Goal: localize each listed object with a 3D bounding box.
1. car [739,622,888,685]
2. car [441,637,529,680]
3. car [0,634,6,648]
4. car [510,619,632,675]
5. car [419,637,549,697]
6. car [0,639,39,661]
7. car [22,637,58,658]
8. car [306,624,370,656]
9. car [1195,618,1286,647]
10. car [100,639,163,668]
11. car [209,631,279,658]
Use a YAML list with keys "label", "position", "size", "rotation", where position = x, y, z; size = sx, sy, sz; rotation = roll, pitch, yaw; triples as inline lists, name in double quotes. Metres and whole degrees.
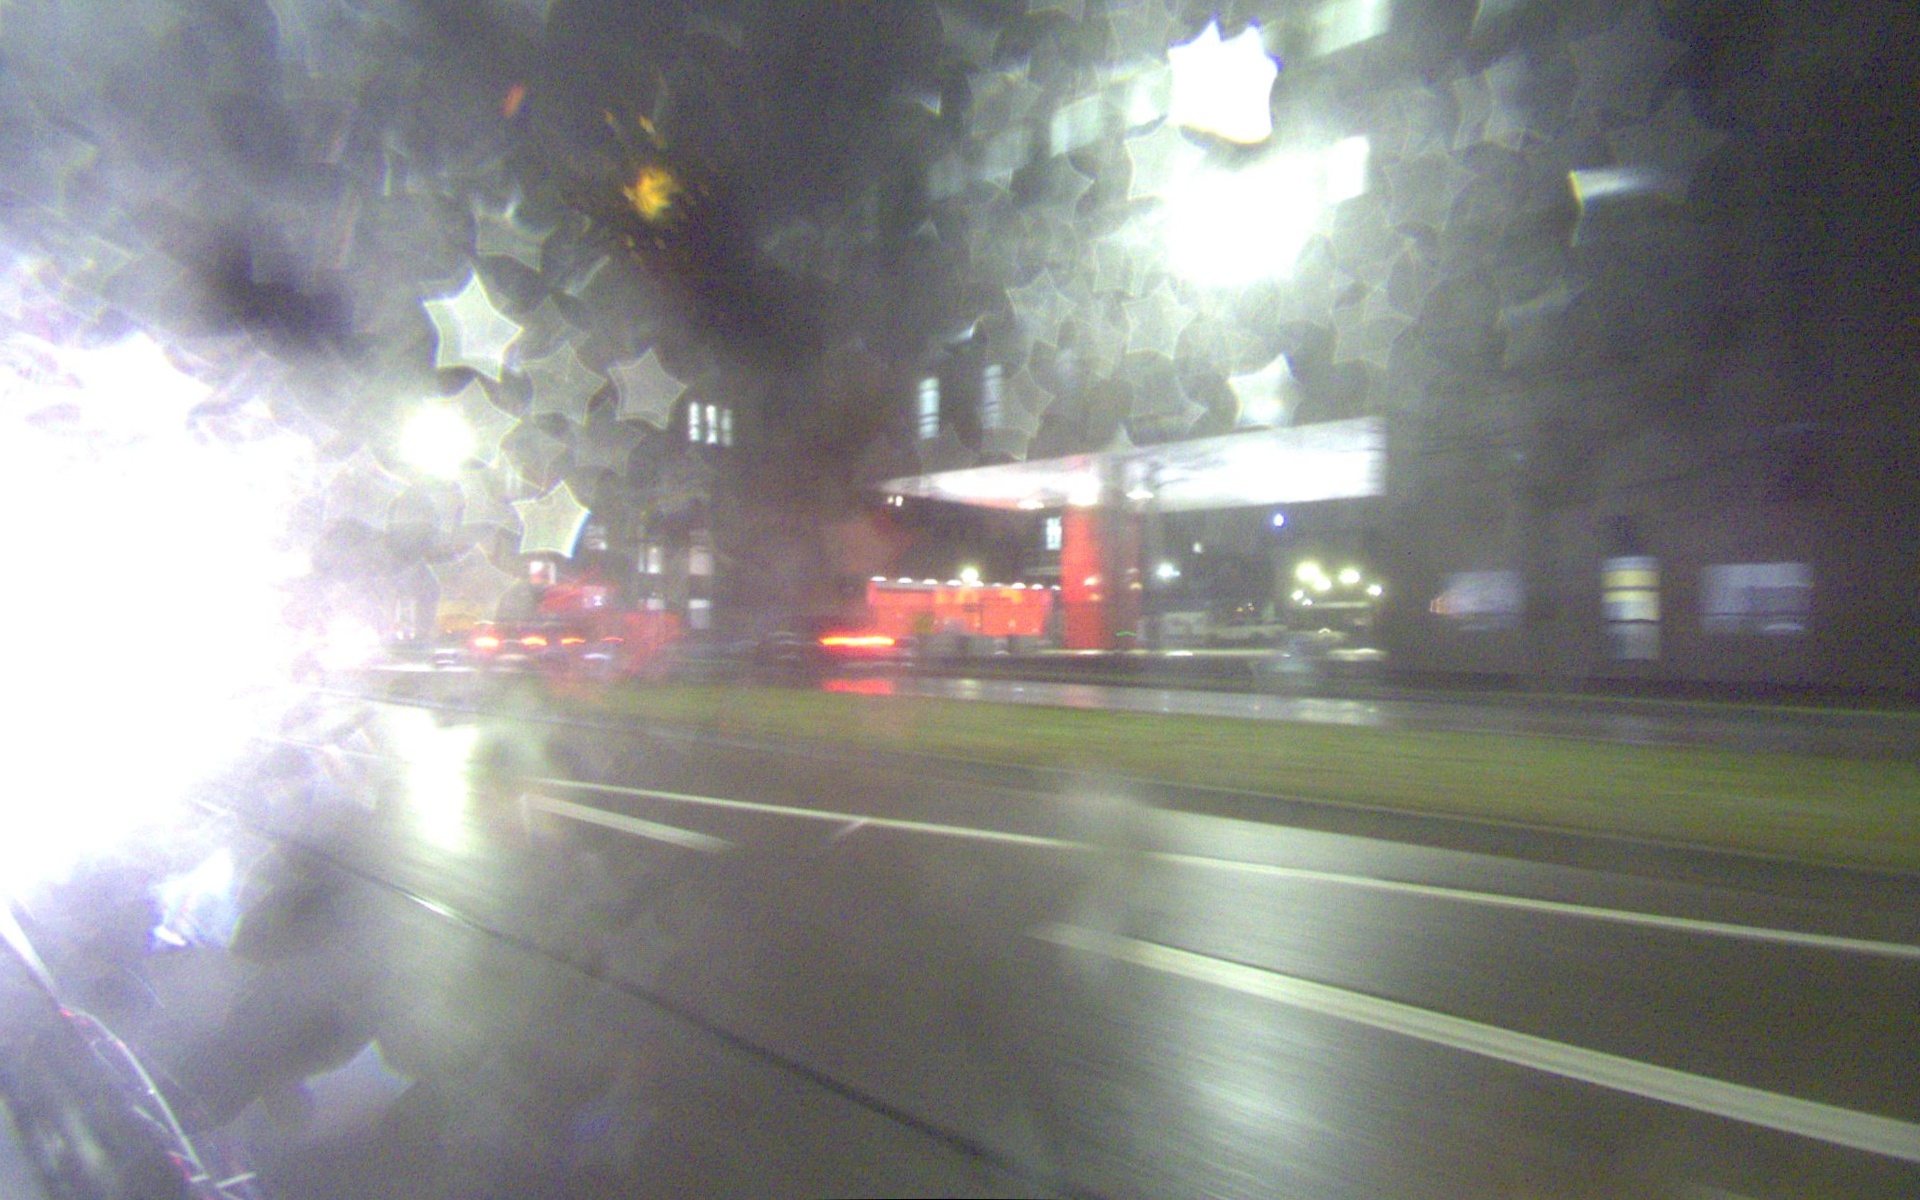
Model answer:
- label: "car"
  position: [-4.201, 1.462, 28.662]
  size: [4.365, 1.604, 1.823]
  rotation: [-1, -1, 42]
- label: "car"
  position: [-19.973, 2.420, 42.498]
  size: [4.365, 1.604, 1.823]
  rotation: [-1, -1, 42]
- label: "car"
  position: [-108.597, 4.591, 113.675]
  size: [3.817, 1.589, 1.689]
  rotation: [-1, -1, 40]
- label: "car"
  position: [-12.281, 1.428, 31.848]
  size: [4.365, 1.604, 1.823]
  rotation: [-1, -1, 42]
- label: "car"
  position: [-13.654, 1.856, 28.924]
  size: [4.365, 1.497, 1.823]
  rotation: [-1, -1, 42]
- label: "car"
  position: [-70.812, 3.741, 76.011]
  size: [4.253, 1.605, 1.824]
  rotation: [-1, -5, 40]
- label: "car"
  position: [-76.084, 3.890, 83.691]
  size: [3.817, 1.589, 1.689]
  rotation: [-1, -1, 40]
- label: "car"
  position: [-33.485, 2.142, 54.465]
  size: [4.365, 1.604, 1.823]
  rotation: [-1, -1, 42]
- label: "car"
  position: [18.347, 2.116, 66.272]
  size: [5.424, 1.829, 1.973]
  rotation: [-1, -1, 41]
- label: "car"
  position: [-50.386, 3.238, 61.511]
  size: [5.319, 1.604, 1.826]
  rotation: [-1, -1, 38]
- label: "car"
  position: [-39.574, 2.399, 55.894]
  size: [5.554, 1.369, 1.825]
  rotation: [-1, -1, 40]
